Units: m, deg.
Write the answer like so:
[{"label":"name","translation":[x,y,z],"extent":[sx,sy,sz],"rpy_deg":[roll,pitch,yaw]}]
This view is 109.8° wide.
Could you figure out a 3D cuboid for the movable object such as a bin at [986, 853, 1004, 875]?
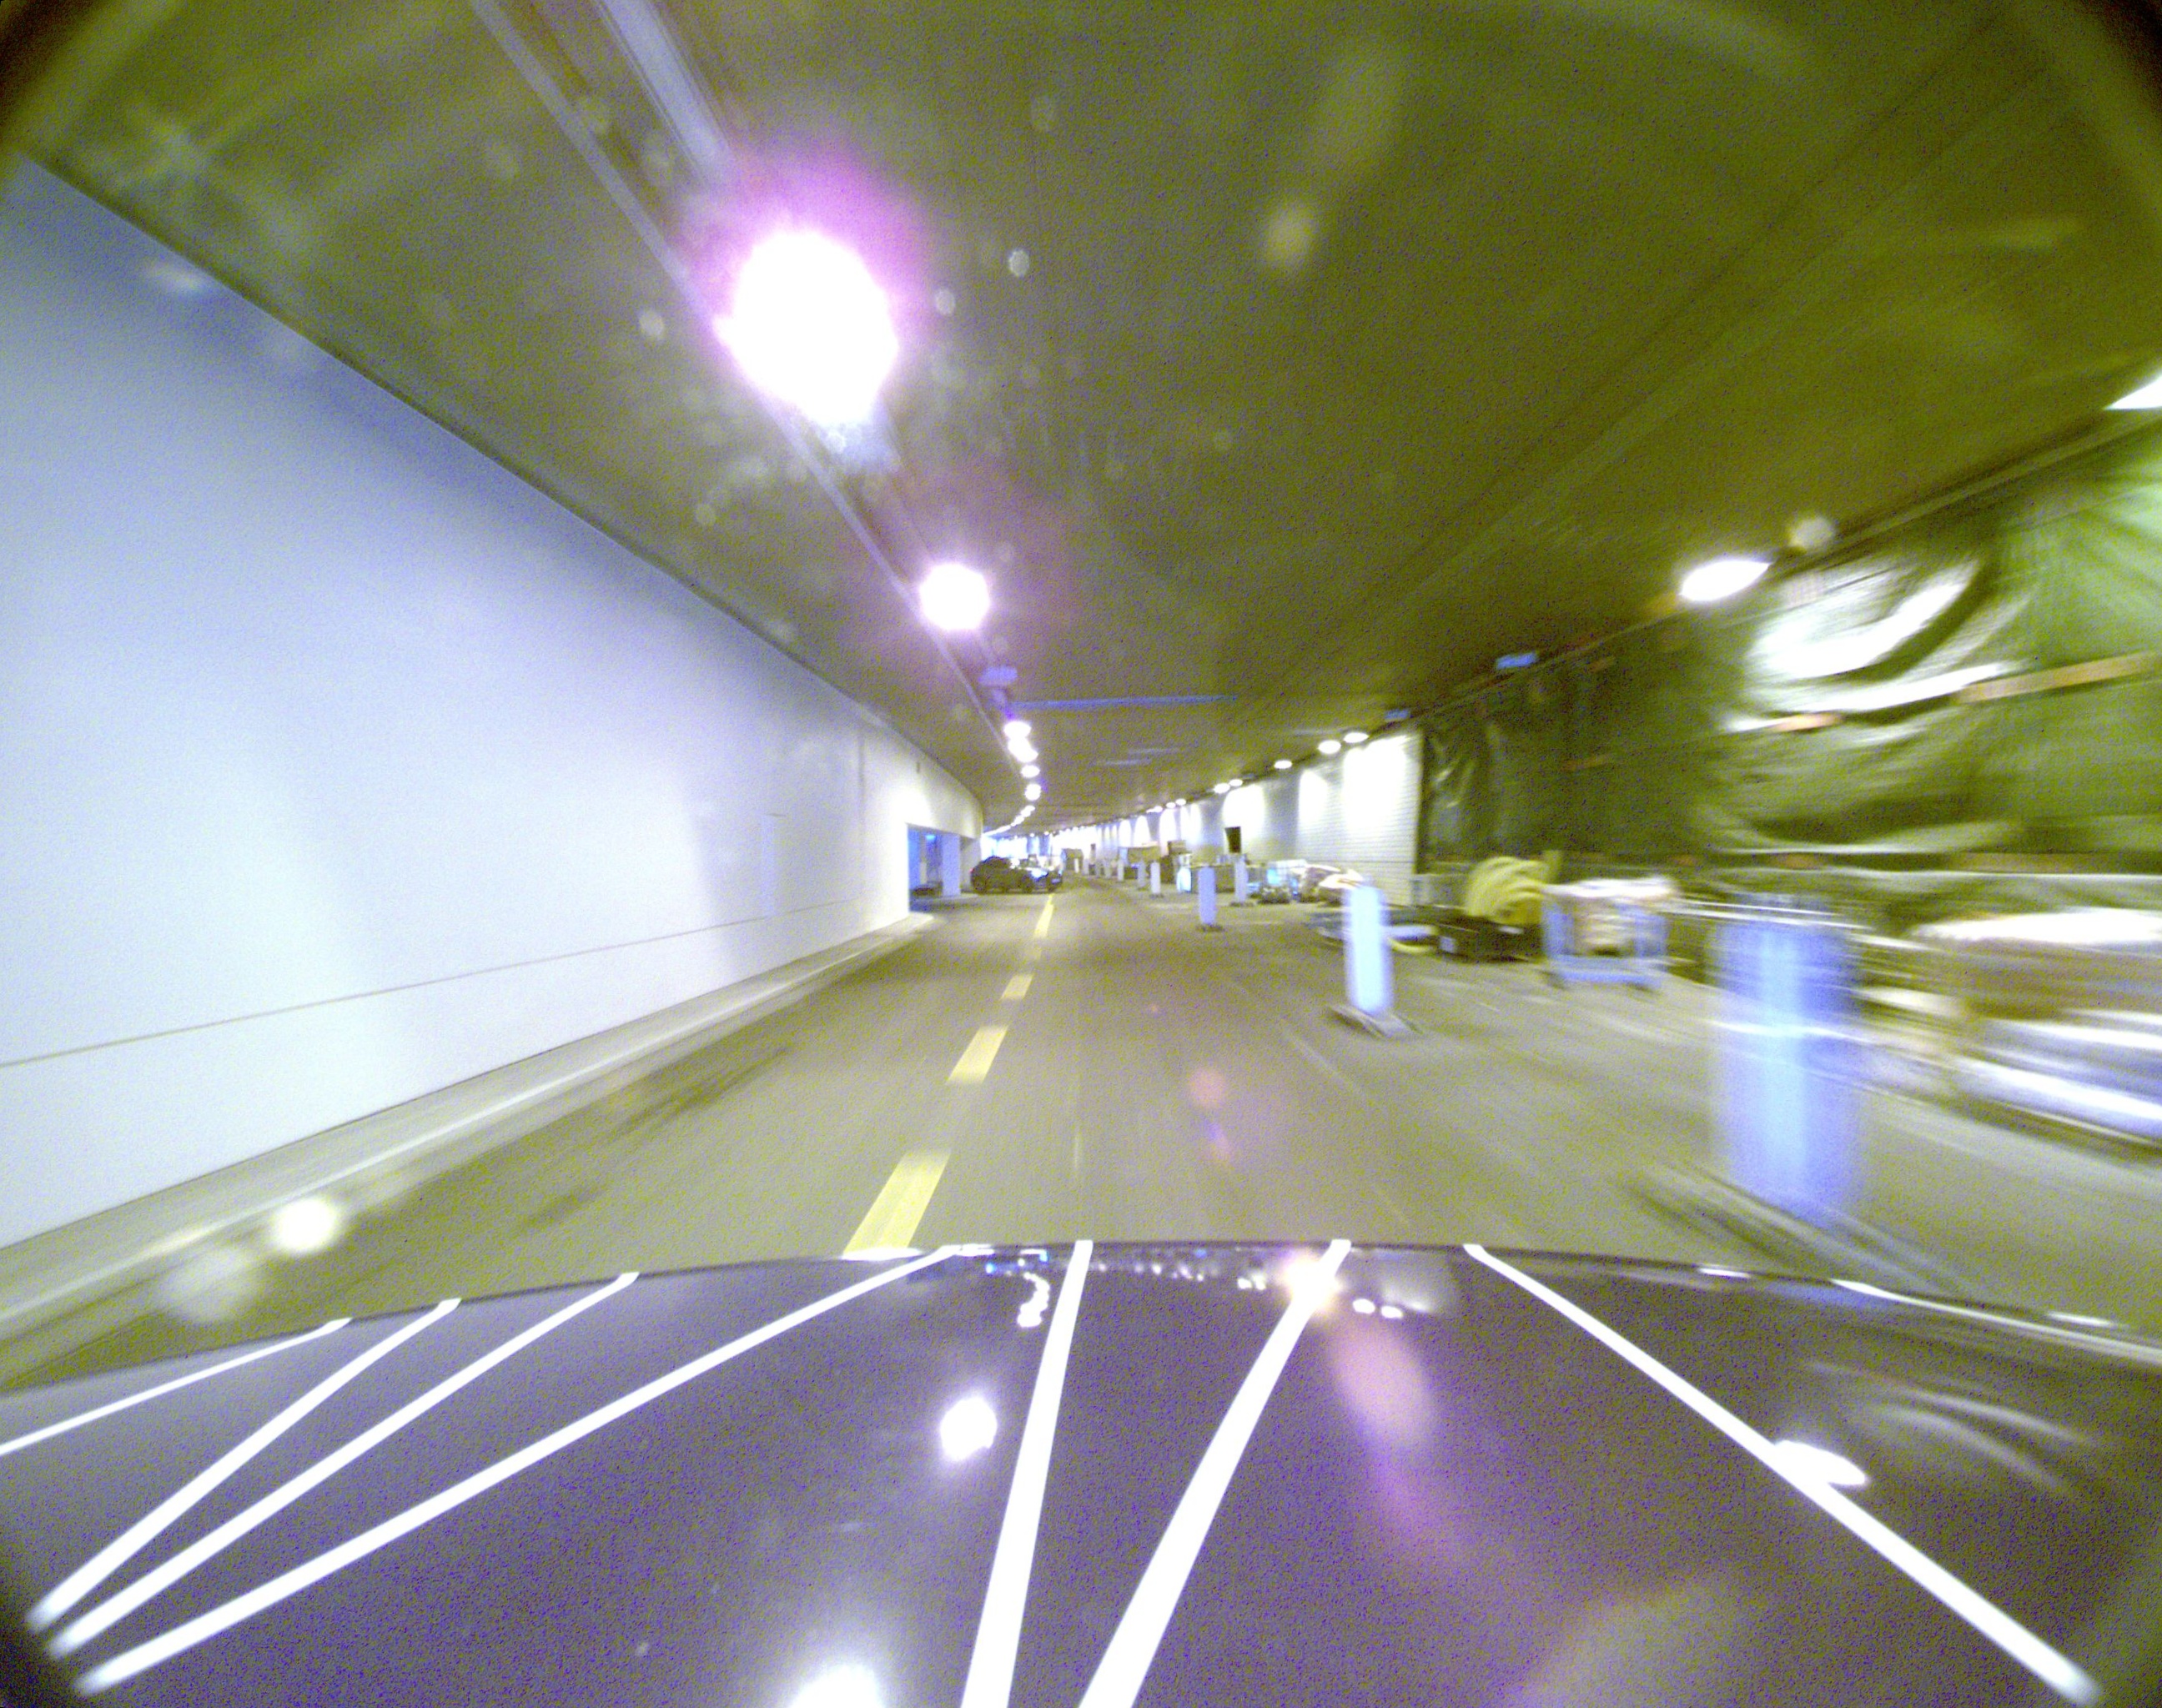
[{"label":"movable object such as a bin","translation":[-5.858,0.670,51.763],"extent":[1.101,1.437,1.321],"rpy_deg":[-2,1,-8]}]

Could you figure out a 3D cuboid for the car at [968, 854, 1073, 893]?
[{"label":"car","translation":[-2.642,0.805,32.616],"extent":[4.228,1.537,1.901],"rpy_deg":[-1,1,36]}]

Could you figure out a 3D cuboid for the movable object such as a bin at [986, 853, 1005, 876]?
[{"label":"movable object such as a bin","translation":[-5.685,0.689,50.368],"extent":[1.149,1.437,1.362],"rpy_deg":[-2,1,-8]}]

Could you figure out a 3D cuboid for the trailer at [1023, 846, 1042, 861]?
[{"label":"trailer","translation":[-6.290,-0.081,98.354],"extent":[1.645,1.781,3.117],"rpy_deg":[-2,1,-16]}]

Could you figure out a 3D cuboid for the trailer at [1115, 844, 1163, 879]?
[{"label":"trailer","translation":[3.534,0.406,47.127],"extent":[2.215,2.002,3.463],"rpy_deg":[-2,1,-9]}]
